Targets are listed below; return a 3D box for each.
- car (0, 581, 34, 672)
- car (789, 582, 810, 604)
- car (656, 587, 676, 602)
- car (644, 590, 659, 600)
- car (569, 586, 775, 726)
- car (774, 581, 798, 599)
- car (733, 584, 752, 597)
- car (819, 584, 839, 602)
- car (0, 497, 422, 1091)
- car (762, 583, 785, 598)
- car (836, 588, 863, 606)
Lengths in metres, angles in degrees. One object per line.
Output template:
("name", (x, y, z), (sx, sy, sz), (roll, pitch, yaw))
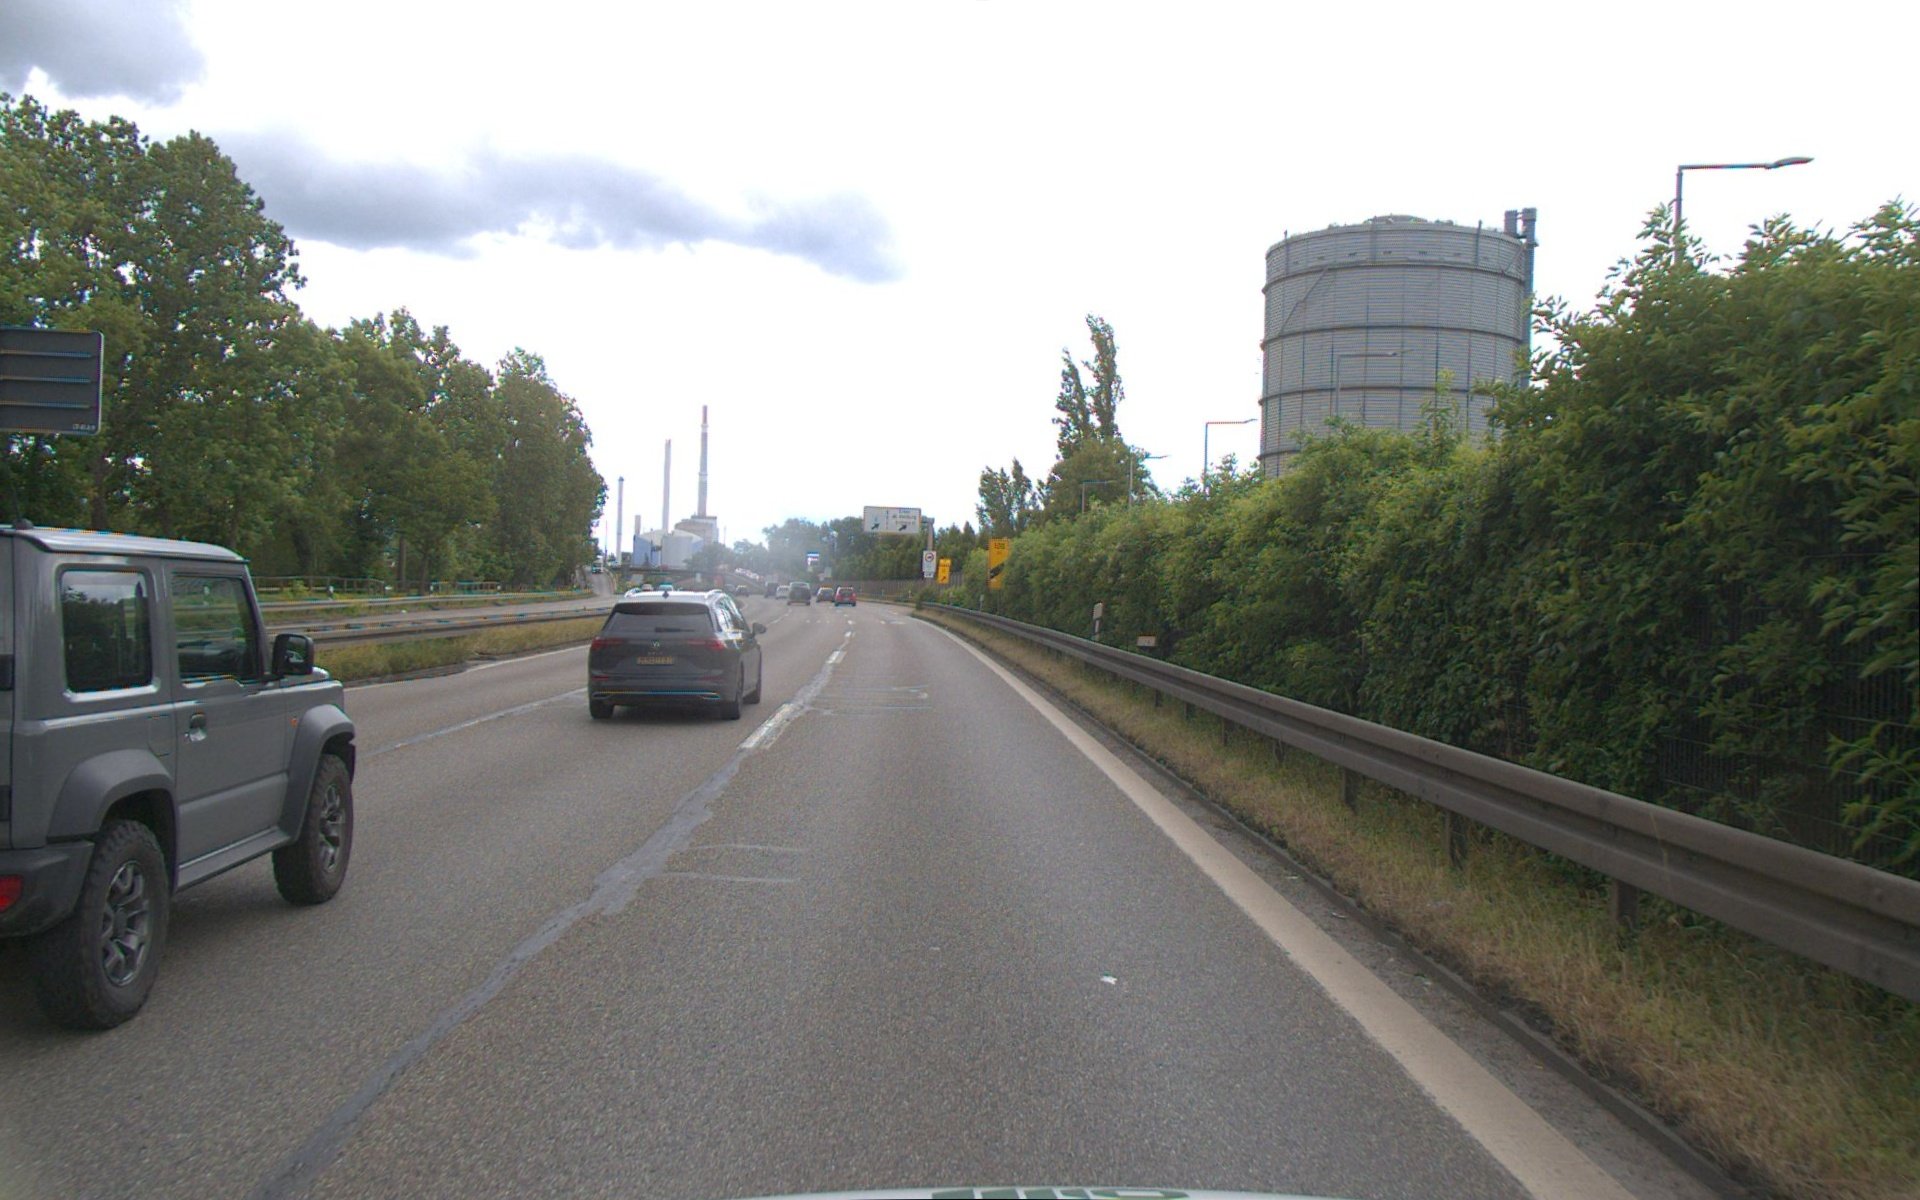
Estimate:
("car", (-16.047, 0.419, 25.302), (1.627, 1.449, 3.910), (1, 0, -2))
("car", (-13.371, -0.560, 137.970), (1.664, 1.772, 3.996), (0, 0, -5))
("car", (-28.293, -0.518, 159.220), (1.583, 1.410, 3.728), (1, 0, -6))
("car", (-47.099, -0.769, 252.538), (1.671, 1.438, 4.616), (0, 0, -17))
("car", (-3.375, 0.592, 20.286), (1.808, 1.448, 4.898), (2, 0, -2))
("car", (-20.368, -1.161, 193.188), (1.980, 1.968, 4.880), (1, 0, -16))
("car", (-29.434, -1.304, 223.487), (1.672, 1.772, 4.368), (0, 0, -20))
("car", (-13.148, -0.721, 165.675), (1.666, 1.772, 4.385), (0, 0, -8))
("car", (-3.587, 0.540, 6.729), (1.664, 1.715, 3.998), (0, 0, -3))
("car", (-23.851, -1.199, 211.486), (1.983, 1.968, 4.873), (1, 0, -19))
("car", (-9.245, -0.249, 137.633), (1.937, 1.448, 4.892), (1, 0, -7))
